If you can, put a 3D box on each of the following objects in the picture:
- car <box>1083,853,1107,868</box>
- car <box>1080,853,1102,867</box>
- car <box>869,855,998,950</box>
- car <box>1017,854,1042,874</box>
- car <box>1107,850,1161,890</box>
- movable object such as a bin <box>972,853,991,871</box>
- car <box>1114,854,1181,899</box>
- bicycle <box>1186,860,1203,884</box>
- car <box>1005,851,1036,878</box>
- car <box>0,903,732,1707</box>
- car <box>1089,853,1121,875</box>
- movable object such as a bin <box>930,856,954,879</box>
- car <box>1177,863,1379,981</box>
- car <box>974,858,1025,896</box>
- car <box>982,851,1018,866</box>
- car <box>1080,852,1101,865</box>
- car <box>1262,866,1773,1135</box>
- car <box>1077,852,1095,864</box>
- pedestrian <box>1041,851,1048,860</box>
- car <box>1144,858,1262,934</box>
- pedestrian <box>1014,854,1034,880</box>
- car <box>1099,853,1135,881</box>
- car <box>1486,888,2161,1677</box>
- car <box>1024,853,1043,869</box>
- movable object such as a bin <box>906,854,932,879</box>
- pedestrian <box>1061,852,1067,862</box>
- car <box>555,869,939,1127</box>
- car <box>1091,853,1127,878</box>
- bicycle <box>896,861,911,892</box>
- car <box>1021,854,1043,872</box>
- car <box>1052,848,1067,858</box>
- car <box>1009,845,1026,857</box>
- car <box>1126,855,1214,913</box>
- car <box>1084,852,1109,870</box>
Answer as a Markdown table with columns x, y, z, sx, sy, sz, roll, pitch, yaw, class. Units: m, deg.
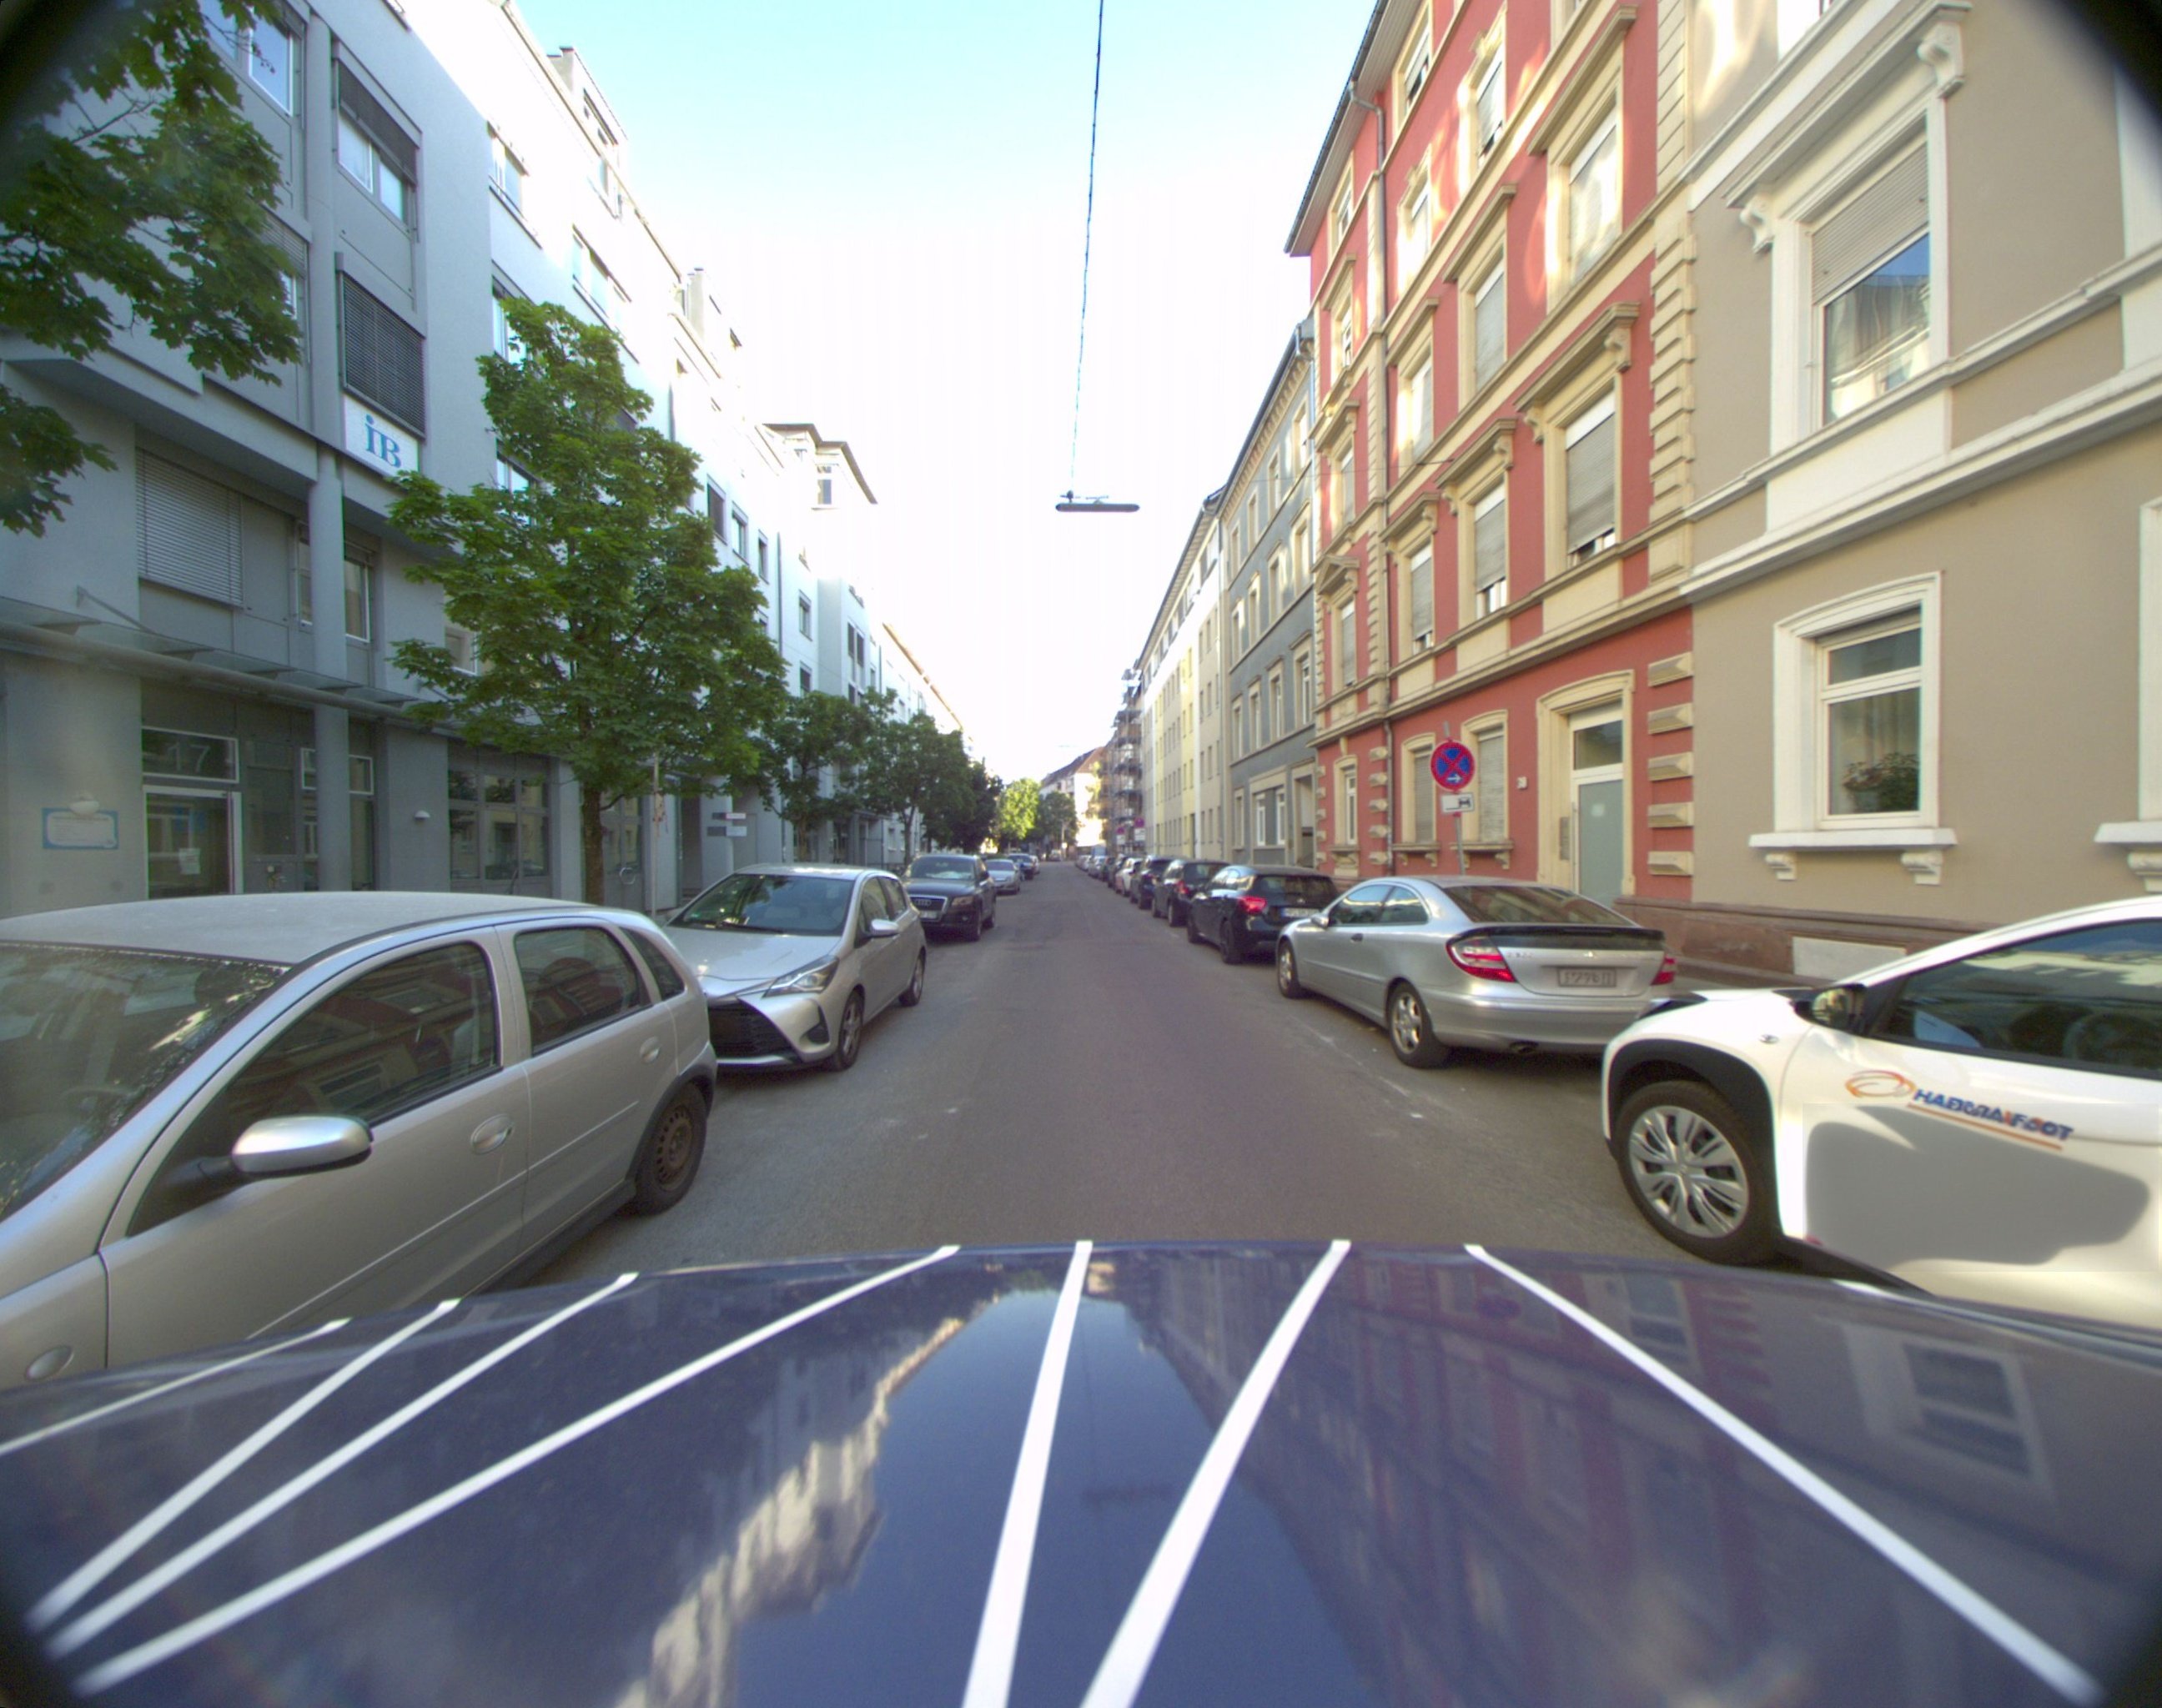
| x | y | z | sx | sy | sz | roll | pitch | yaw | class |
| --- | --- | --- | --- | --- | --- | --- | --- | --- | --- |
| 1.305 | 0.615 | 73.770 | 1.999 | 1.439 | 3.998 | 1 | 0 | -3 | car |
| 1.057 | 0.622 | 79.079 | 1.999 | 1.423 | 3.998 | 1 | 0 | -3 | car |
| -2.835 | 0.863 | 15.597 | 1.890 | 1.613 | 4.433 | 1 | 0 | -2 | car |
| -3.995 | 0.759 | 59.342 | 1.680 | 1.474 | 3.652 | 1 | 0 | 1 | car |
| 2.305 | 0.688 | 34.224 | 1.926 | 1.654 | 4.467 | 1 | 0 | -3 | car |
| -7.773 | 0.615 | 59.457 | 1.288 | 1.428 | 1.223 | 0 | 1 | -2 | movable object such as a bin |
| 2.432 | 0.797 | 28.847 | 1.926 | 1.551 | 4.266 | 1 | 0 | -3 | car |
| 5.283 | 0.824 | 35.523 | 0.451 | 1.068 | 1.751 | -2 | 1 | -1 | bicycle |
| -3.817 | 0.647 | 48.739 | 1.876 | 1.626 | 4.720 | 1 | 0 | -3 | car |
| -2.596 | 1.000 | 1.879 | 1.680 | 1.467 | 3.729 | 1 | 0 | 1 | car |
| 1.678 | 0.677 | 54.498 | 1.928 | 1.480 | 4.615 | 1 | 0 | -3 | car |
| -8.226 | 0.774 | 44.999 | 1.265 | 1.313 | 1.138 | 0 | 1 | -2 | movable object such as a bin |
| 2.878 | 0.928 | 12.158 | 1.926 | 1.475 | 4.266 | 1 | 0 | -3 | car |
| -3.378 | 0.904 | 32.069 | 1.768 | 1.421 | 4.343 | 1 | 0 | -2 | car |
| -9.298 | 0.502 | 87.773 | 3.998 | 1.556 | 1.999 | 1 | 1 | -4 | car |
| 1.013 | 0.483 | 84.500 | 1.999 | 1.423 | 3.998 | 1 | 0 | -3 | car |
| 3.184 | 0.939 | 6.764 | 1.926 | 1.551 | 4.266 | 1 | 0 | -3 | car |
| 0.623 | 0.518 | 95.071 | 1.999 | 1.462 | 3.998 | 1 | 0 | -3 | car |
| -6.175 | 0.314 | 127.369 | 0.804 | 1.455 | 0.868 | -2 | 1 | -38 | pedestrian |
| 2.750 | 0.898 | 18.131 | 1.906 | 1.551 | 4.239 | 1 | 0 | -3 | car |
| -3.295 | 0.747 | 43.958 | 0.868 | 1.455 | 0.804 | 1 | 1 | 27 | pedestrian |
| 2.043 | 0.717 | 44.281 | 1.784 | 1.480 | 4.419 | 1 | 0 | -2 | car |
| 3.174 | 0.947 | 1.963 | 1.925 | 1.498 | 4.267 | 1 | 0 | 0 | car |
| -4.402 | 0.644 | 70.472 | 1.681 | 1.411 | 4.134 | 1 | 0 | -2 | car |
| -9.525 | 0.714 | 44.707 | 1.265 | 1.428 | 1.138 | 0 | 1 | -2 | movable object such as a bin |
| -2.443 | 0.403 | 110.864 | 0.749 | 1.455 | 0.802 | -2 | 1 | -2 | pedestrian |
| -2.482 | 0.951 | 6.784 | 1.681 | 1.516 | 3.970 | 1 | 0 | 0 | car |
| 1.750 | 0.690 | 49.130 | 1.928 | 1.480 | 4.616 | 1 | 0 | -2 | car |
| -7.055 | 0.881 | 30.243 | 0.522 | 1.161 | 1.738 | 1 | 1 | -12 | bicycle |
| -4.155 | 0.733 | 64.289 | 1.681 | 1.411 | 4.135 | 1 | 0 | -2 | car |
| -3.805 | -0.176 | 131.660 | 2.081 | 1.760 | 4.214 | 1 | 0 | -8 | car |
| -11.730 | -0.587 | 140.162 | 2.163 | 2.270 | 6.199 | 1 | 0 | -15 | car |
| 2.562 | 0.828 | 22.946 | 1.926 | 1.551 | 4.266 | 1 | 0 | -3 | car |
| 1.387 | 0.601 | 68.942 | 1.999 | 1.496 | 3.998 | 1 | 0 | -3 | car |
